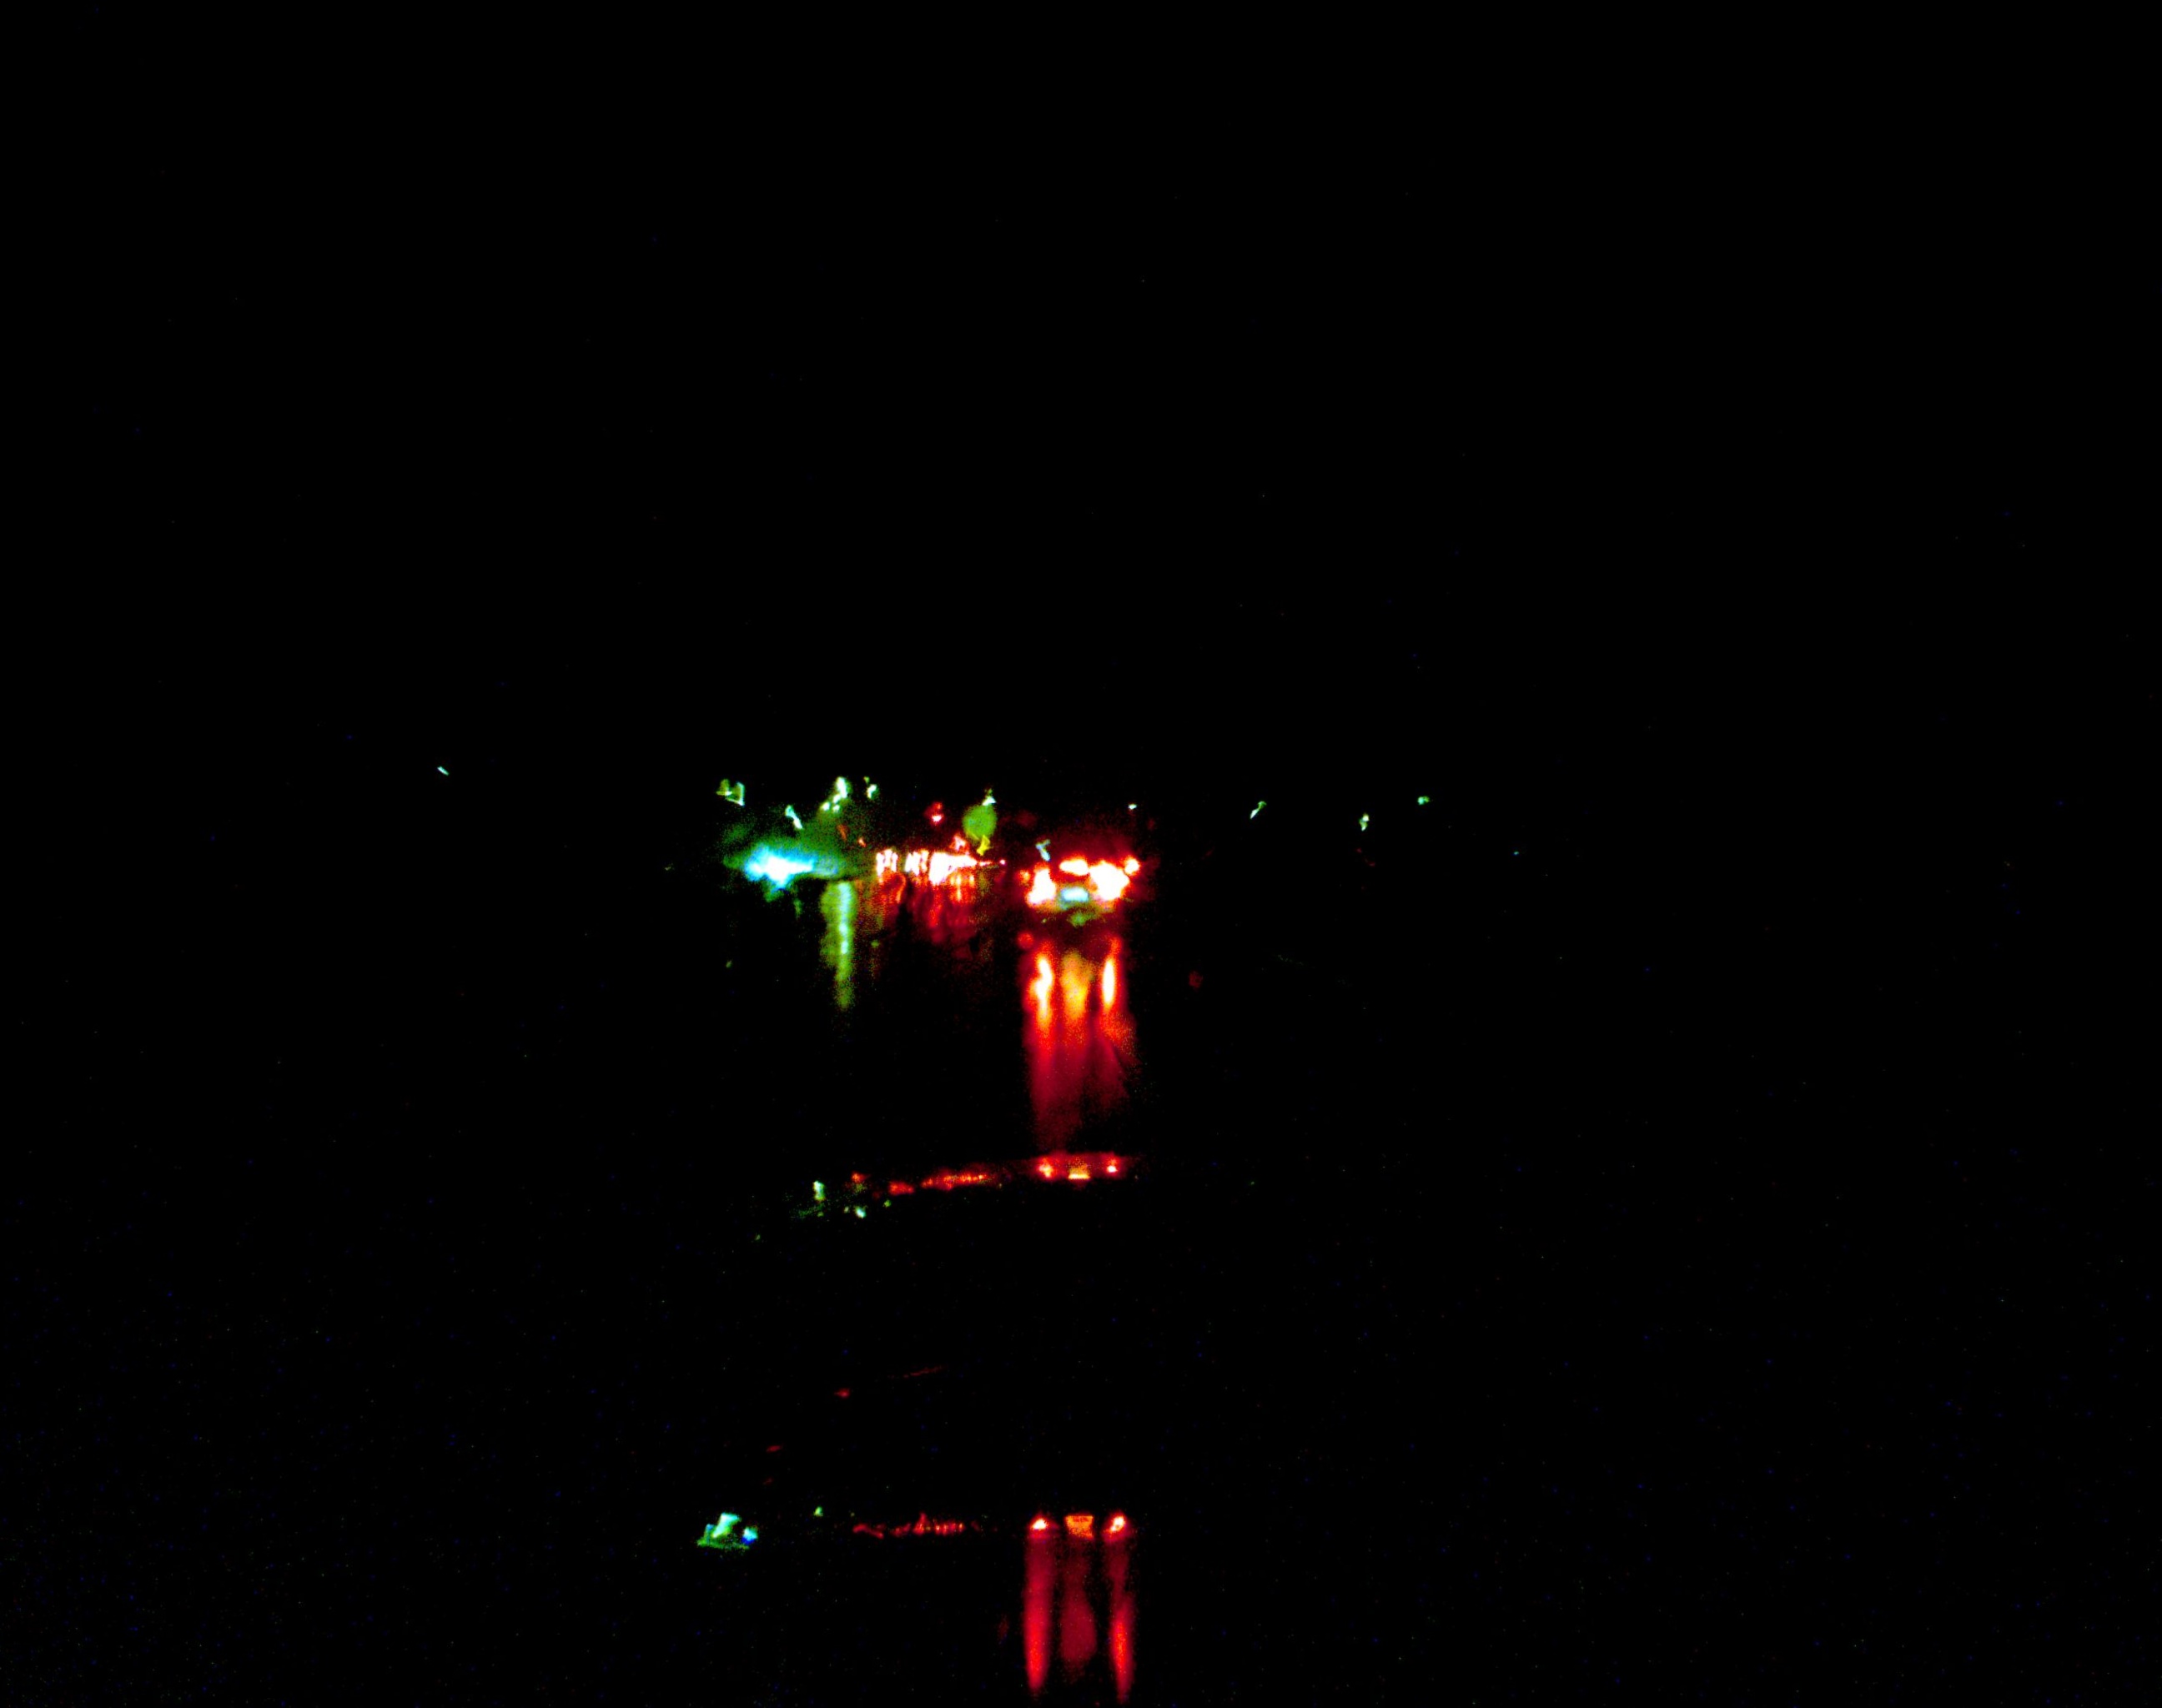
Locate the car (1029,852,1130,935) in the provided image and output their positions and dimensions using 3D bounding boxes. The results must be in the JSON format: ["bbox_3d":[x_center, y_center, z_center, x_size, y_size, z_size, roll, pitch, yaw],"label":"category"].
[{"bbox_3d":[-0.098,0.837,18.674,1.988,1.628,4.980,-1,-1,-2],"label":"car"}]

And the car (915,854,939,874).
[{"bbox_3d":[-14.080,0.872,74.214,1.995,1.628,4.964,-3,1,-12],"label":"car"}]

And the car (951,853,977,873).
[{"bbox_3d":[-10.676,0.829,74.176,1.995,1.628,4.964,-3,1,-12],"label":"car"}]

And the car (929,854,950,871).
[{"bbox_3d":[-15.485,0.913,89.160,1.995,1.628,4.964,-3,1,-12],"label":"car"}]

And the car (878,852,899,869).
[{"bbox_3d":[-19.965,0.655,84.586,1.995,1.628,4.964,-3,1,-12],"label":"car"}]
